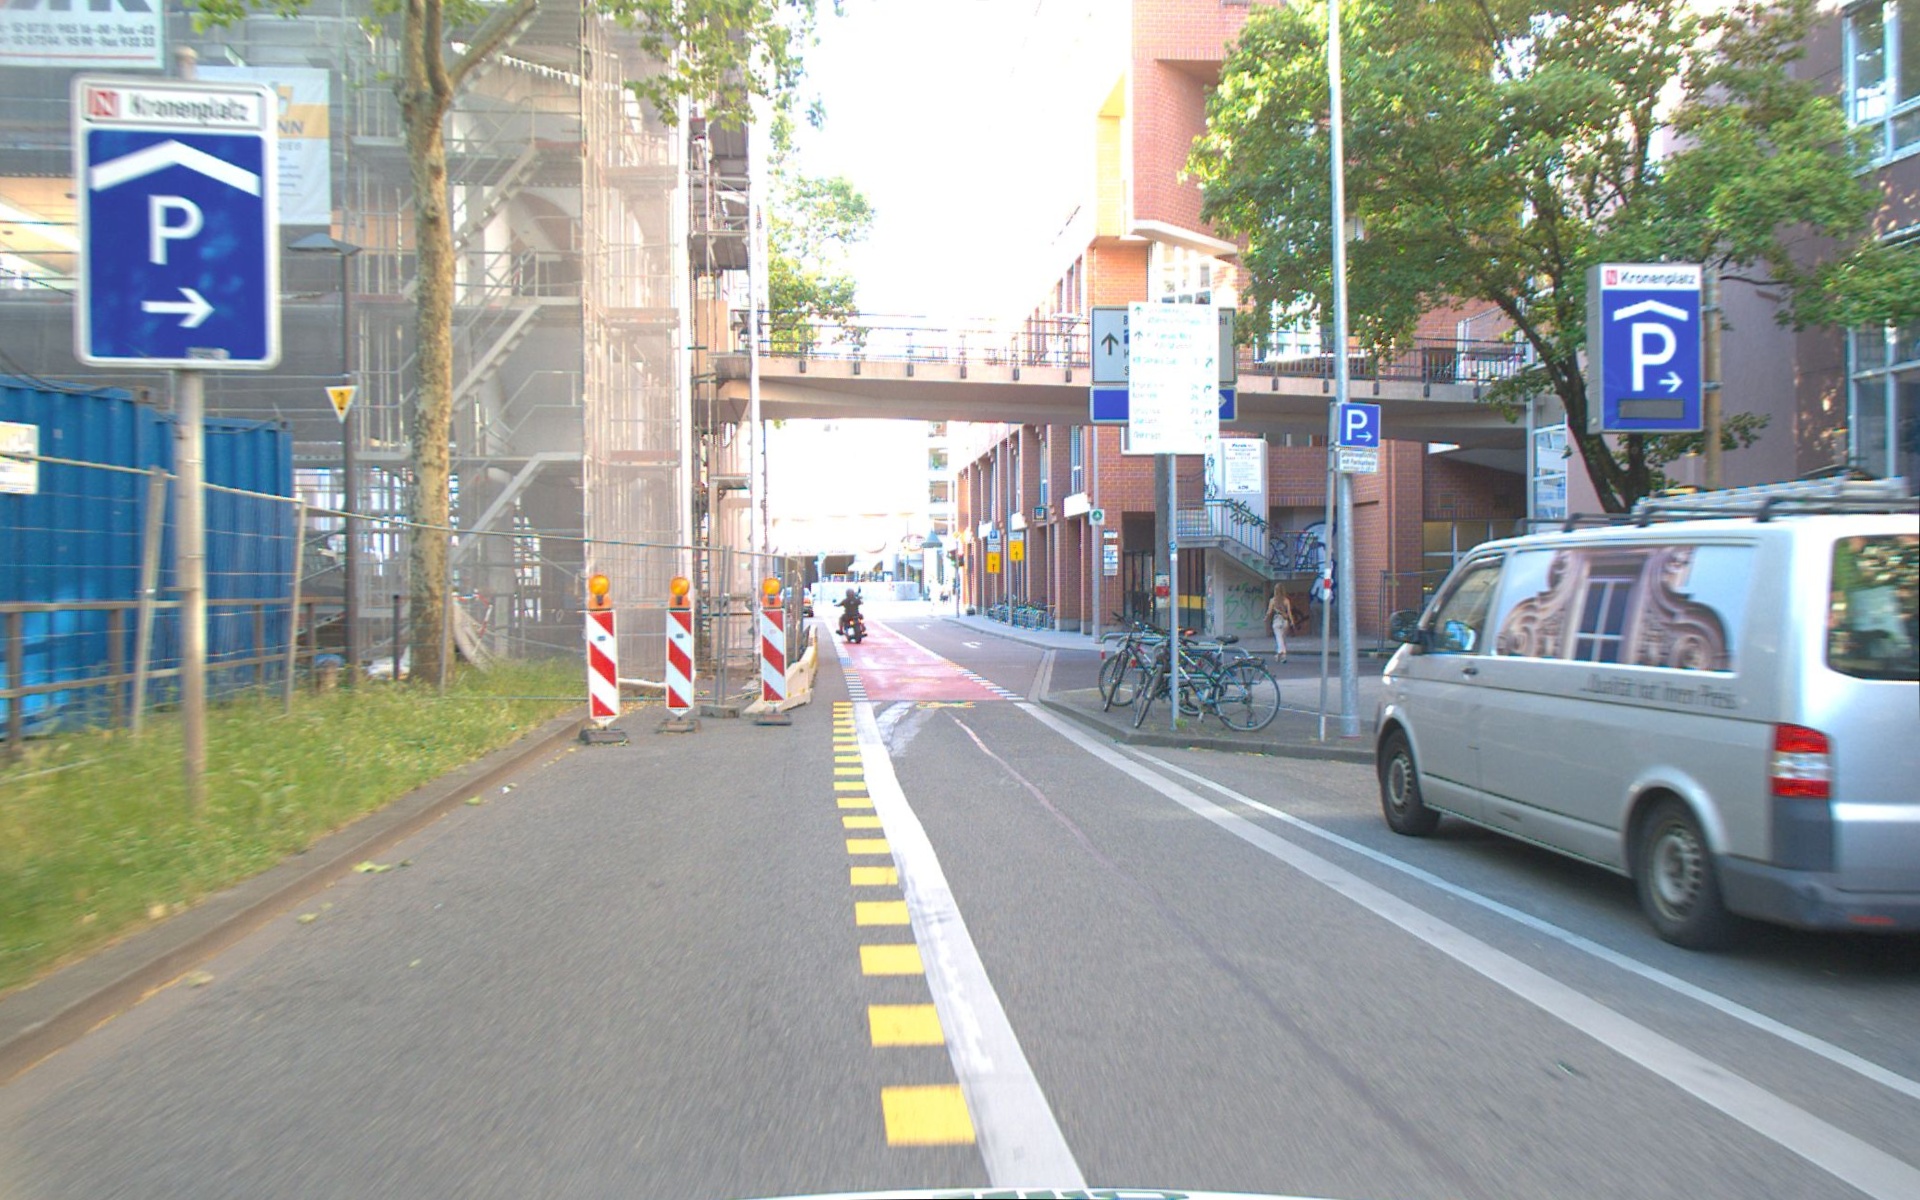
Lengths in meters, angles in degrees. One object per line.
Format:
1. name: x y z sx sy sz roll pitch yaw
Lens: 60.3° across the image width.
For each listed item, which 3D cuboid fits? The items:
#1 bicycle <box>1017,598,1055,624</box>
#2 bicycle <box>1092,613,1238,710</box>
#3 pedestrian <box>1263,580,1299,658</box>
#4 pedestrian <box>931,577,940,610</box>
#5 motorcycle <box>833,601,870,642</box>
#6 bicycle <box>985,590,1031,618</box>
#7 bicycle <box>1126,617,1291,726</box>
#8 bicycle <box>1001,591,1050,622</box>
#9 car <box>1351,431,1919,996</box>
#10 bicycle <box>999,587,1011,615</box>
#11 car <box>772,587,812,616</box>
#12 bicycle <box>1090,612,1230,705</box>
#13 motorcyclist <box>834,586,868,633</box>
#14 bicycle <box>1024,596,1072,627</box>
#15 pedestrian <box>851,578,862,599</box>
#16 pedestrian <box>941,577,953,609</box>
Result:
1. bicycle: 2.810 0.406 61.277 1.308 0.856 0.424 -3 1 -4
2. bicycle: 2.410 0.708 19.520 1.645 1.086 0.500 0 0 29
3. pedestrian: 6.887 0.399 35.541 0.558 1.661 0.777 0 0 -7
4. pedestrian: -1.362 -0.381 91.803 0.466 1.824 0.540 -1 1 -6
5. motorcycle: -3.215 0.619 48.778 0.954 1.151 2.801 1 1 -6
6. bicycle: 2.014 0.163 69.387 1.855 1.138 0.474 -1 0 -6
7. bicycle: 2.597 0.734 17.291 1.642 1.086 0.511 0 0 18
8. bicycle: 2.580 0.255 65.395 1.855 1.138 0.549 -1 0 -6
9. car: 3.889 0.387 8.863 1.881 2.115 5.164 -1 1 -6
10. bicycle: 1.992 0.054 72.939 0.333 1.204 1.677 -1 1 -4
11. car: -8.459 0.058 83.236 1.887 1.413 3.994 -1 1 -7
12. bicycle: 2.443 0.702 20.242 1.645 1.086 0.500 0 0 29
13. motorcyclist: -3.226 0.269 48.915 0.952 1.370 1.136 1 0 -6
14. bicycle: 3.119 0.399 58.546 1.580 0.971 0.554 -3 1 -4
15. pedestrian: -7.816 -0.879 124.958 0.547 1.611 0.538 0 1 42
16. pedestrian: -0.737 -0.381 91.766 0.621 1.755 0.629 -1 1 -6
